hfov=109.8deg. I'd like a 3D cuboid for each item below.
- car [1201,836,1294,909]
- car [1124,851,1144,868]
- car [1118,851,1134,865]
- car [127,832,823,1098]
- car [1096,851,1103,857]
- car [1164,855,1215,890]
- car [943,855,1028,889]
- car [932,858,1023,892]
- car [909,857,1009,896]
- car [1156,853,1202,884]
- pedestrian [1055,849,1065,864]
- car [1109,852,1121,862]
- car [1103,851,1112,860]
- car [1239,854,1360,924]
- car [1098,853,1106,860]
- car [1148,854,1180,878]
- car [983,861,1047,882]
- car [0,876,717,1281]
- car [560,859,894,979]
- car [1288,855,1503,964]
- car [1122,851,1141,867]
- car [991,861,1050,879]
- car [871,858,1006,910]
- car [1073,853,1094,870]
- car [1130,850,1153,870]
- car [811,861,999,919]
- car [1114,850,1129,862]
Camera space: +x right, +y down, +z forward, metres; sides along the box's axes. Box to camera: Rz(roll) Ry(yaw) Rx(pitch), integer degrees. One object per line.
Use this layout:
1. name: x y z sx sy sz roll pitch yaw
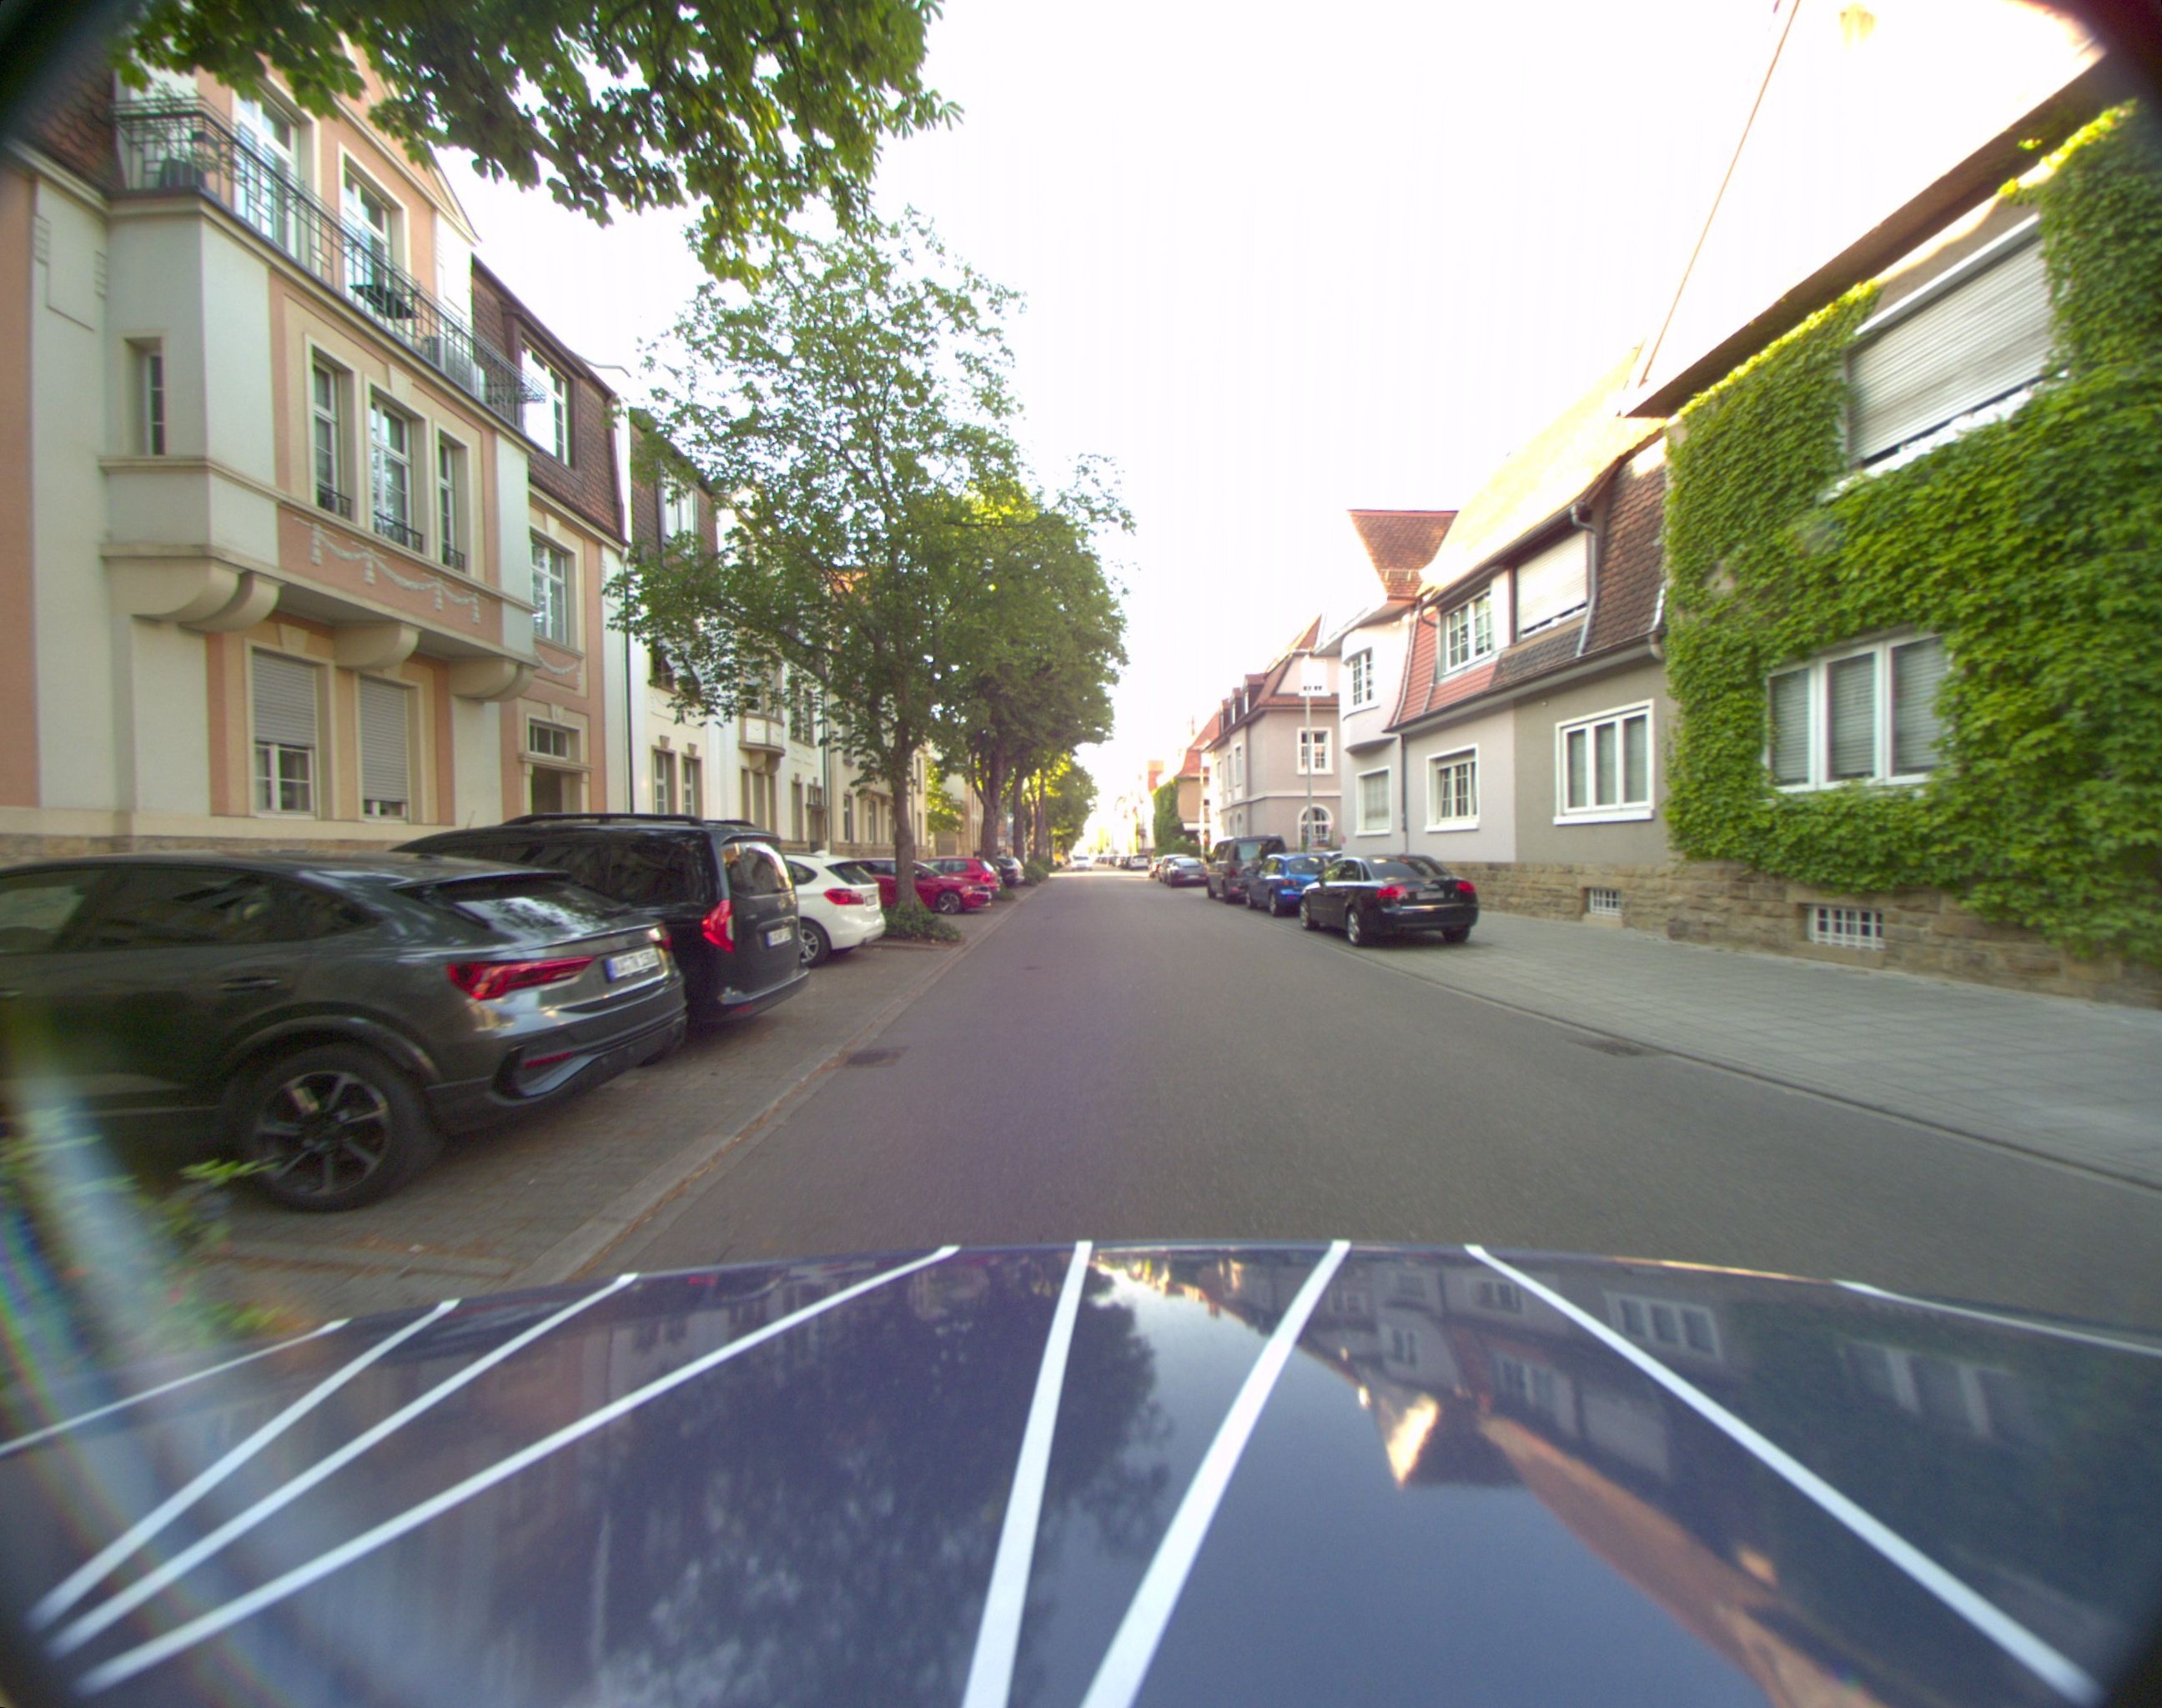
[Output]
1. car: 5.067 0.503 23.732 1.842 1.963 4.612 -3 0 0
2. car: 5.131 0.505 73.652 1.699 1.520 3.677 -3 0 1
3. car: 5.321 0.416 89.392 1.699 1.520 3.677 -3 0 1
4. car: -4.471 0.759 6.183 4.121 1.827 1.844 0 1 -2
5. car: 4.912 -0.065 200.990 1.699 1.520 3.677 -3 0 1
6. car: 4.954 0.798 35.044 1.932 1.376 4.063 -3 0 3
7. car: -4.388 0.813 35.193 3.680 1.548 1.576 0 1 2
8. car: -4.415 0.892 32.679 3.680 1.390 1.576 0 1 2
9. car: -4.772 0.875 30.062 3.680 1.457 1.576 0 1 2
10. car: 5.163 0.734 40.522 1.932 1.458 4.062 -3 0 1
11. pedestrian: -2.642 0.329 96.733 1.119 1.926 1.097 -2 0 -1
12. car: 5.102 0.433 114.249 1.699 1.520 3.677 -3 0 1
13. car: 5.184 0.265 147.506 1.699 1.520 3.677 -3 0 1
14. car: 5.215 0.771 18.720 1.768 1.438 4.062 -3 0 0
15. car: 4.835 0.587 171.675 1.699 1.520 3.677 -3 0 1
16. car: 5.298 0.741 48.762 1.662 1.354 3.677 -3 0 1
17. car: -3.692 0.957 42.791 3.399 1.143 1.542 0 1 2
18. car: -4.567 0.907 3.857 4.522 1.514 1.844 0 1 -4
19. car: -4.877 0.863 10.882 3.950 1.568 1.719 0 1 0
20. car: 5.076 0.796 13.009 1.806 1.438 4.428 -3 0 0
21. car: 5.219 0.473 79.145 1.699 1.520 3.677 -3 0 1
22. car: -3.651 0.966 45.997 3.399 1.057 1.542 0 1 2
23. car: -4.215 0.882 22.813 3.680 1.473 1.659 0 1 3
24. car: 0.275 0.691 69.062 1.819 1.454 4.072 -2 0 1
25. car: 5.236 0.503 66.387 1.699 1.558 3.677 -3 0 1
26. car: -4.604 0.918 20.290 4.530 1.443 1.868 0 1 3
27. car: 5.278 0.264 99.119 1.699 1.520 3.677 -3 0 1
